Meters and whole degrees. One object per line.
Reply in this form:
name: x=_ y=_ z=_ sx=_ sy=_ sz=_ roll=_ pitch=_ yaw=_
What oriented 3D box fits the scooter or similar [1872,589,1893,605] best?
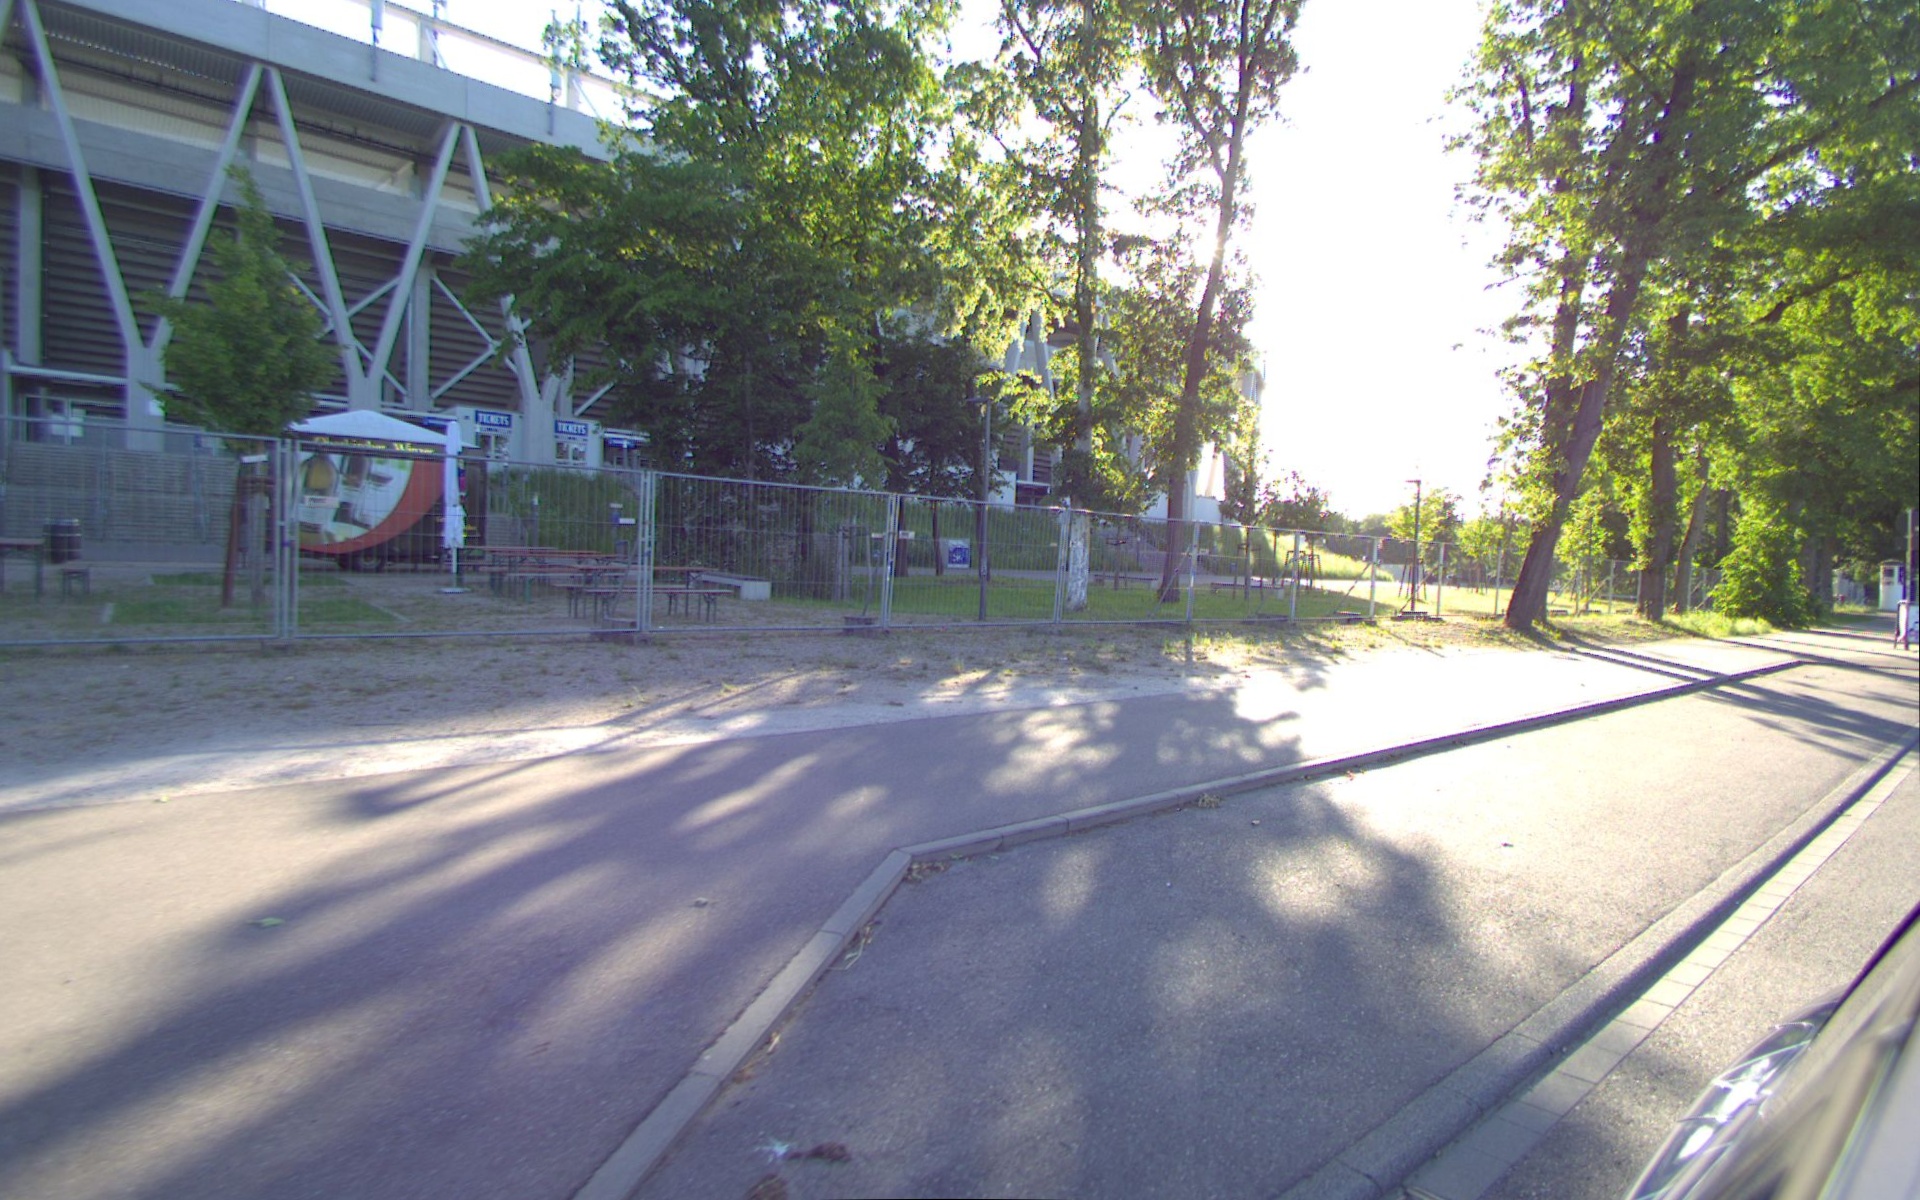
scooter or similar: x=78.090 y=-0.246 z=85.673 sx=1.281 sy=1.252 sz=0.334 roll=3 pitch=2 yaw=12
